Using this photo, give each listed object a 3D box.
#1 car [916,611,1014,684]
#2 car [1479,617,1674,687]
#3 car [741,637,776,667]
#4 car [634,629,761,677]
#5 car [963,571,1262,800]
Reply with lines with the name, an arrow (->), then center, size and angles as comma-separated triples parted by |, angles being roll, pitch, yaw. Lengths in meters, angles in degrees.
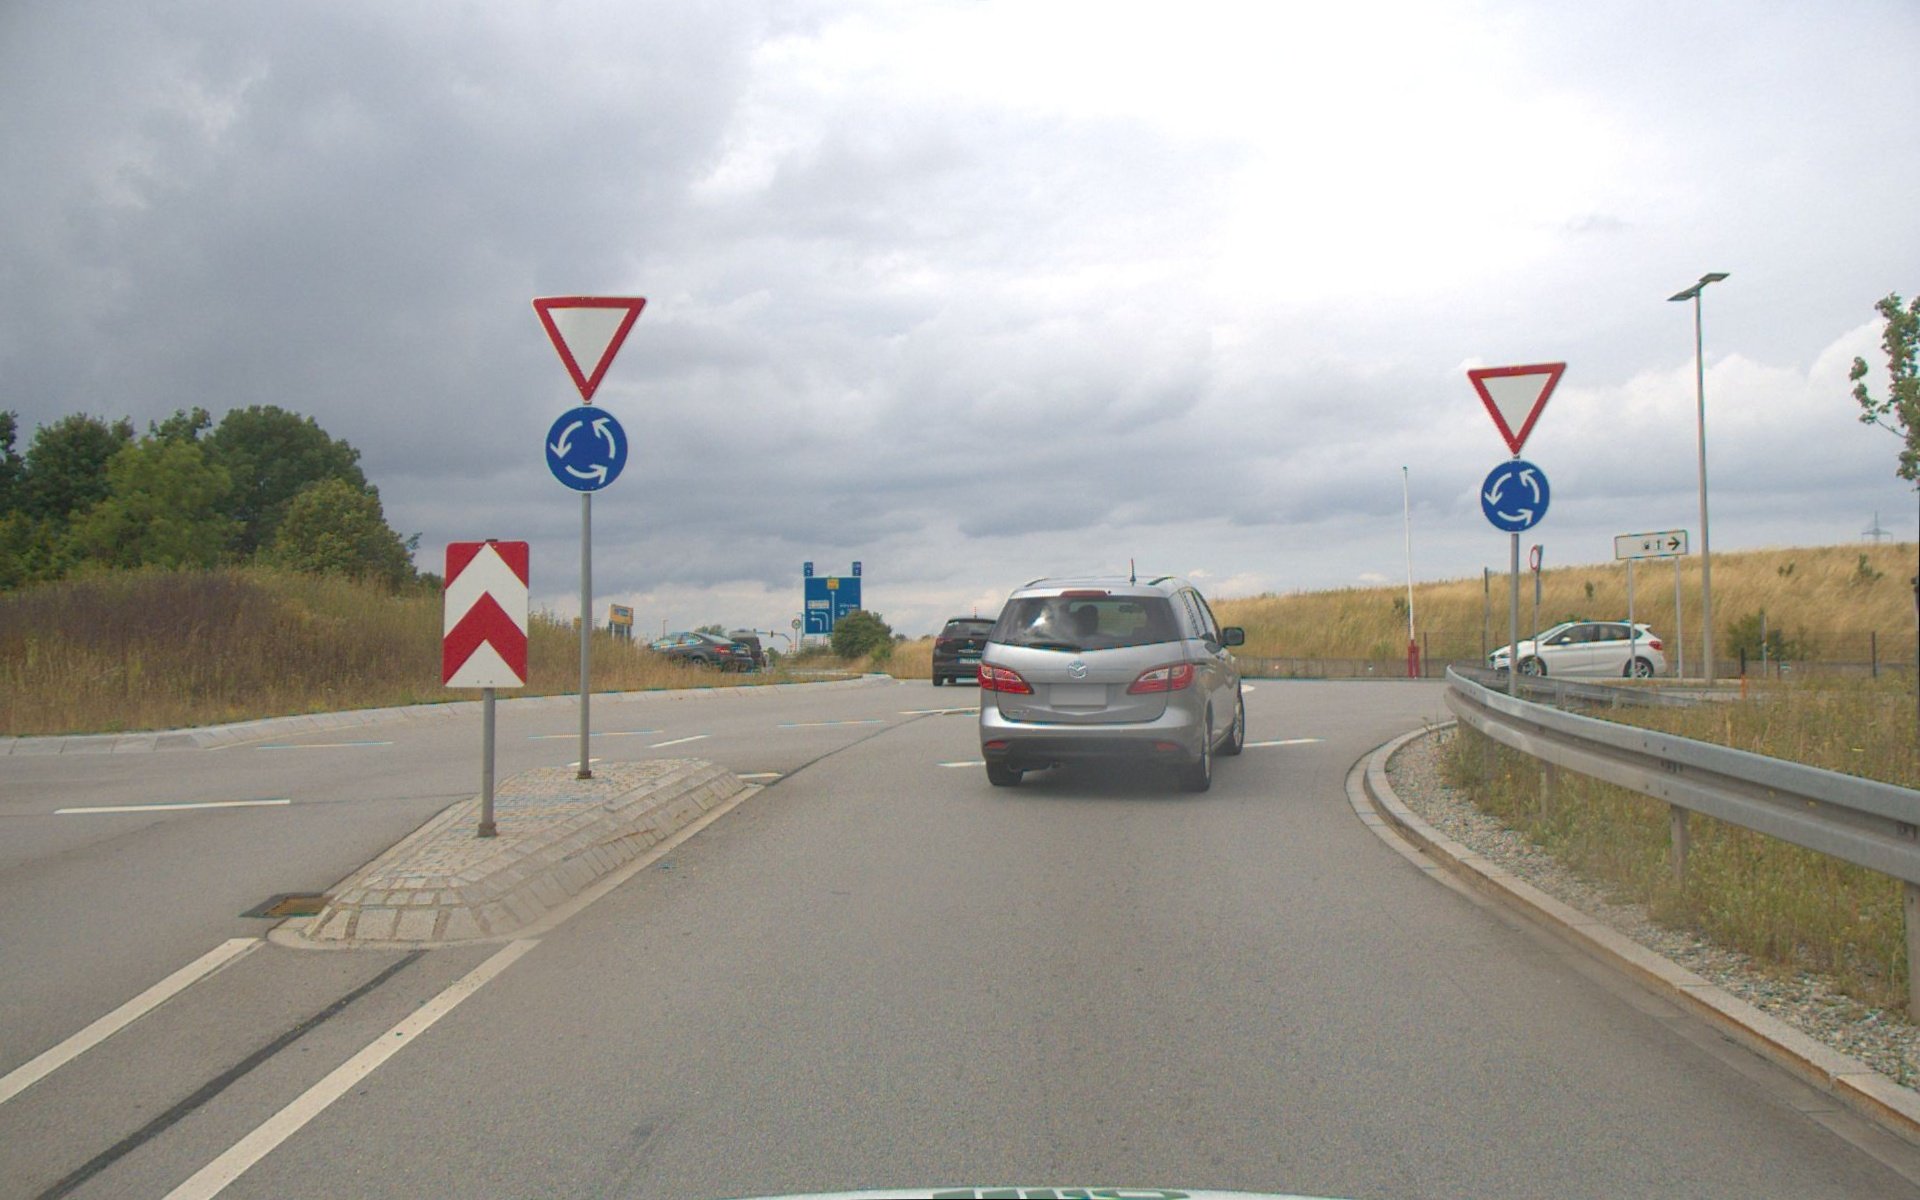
car -> 0.049, 0.974, 35.112 | 1.629, 1.402, 3.995 | -2, 0, -6
car -> 15.644, 1.308, 42.140 | 4.319, 1.657, 1.785 | -1, 0, 6
car -> -11.430, 2.899, 93.692 | 1.570, 1.576, 4.033 | -2, -1, -12
car -> -7.937, 1.592, 49.845 | 3.928, 1.363, 1.655 | -2, -1, 42
car -> 1.421, 0.605, 13.726 | 1.870, 1.601, 4.003 | 0, 0, 14
